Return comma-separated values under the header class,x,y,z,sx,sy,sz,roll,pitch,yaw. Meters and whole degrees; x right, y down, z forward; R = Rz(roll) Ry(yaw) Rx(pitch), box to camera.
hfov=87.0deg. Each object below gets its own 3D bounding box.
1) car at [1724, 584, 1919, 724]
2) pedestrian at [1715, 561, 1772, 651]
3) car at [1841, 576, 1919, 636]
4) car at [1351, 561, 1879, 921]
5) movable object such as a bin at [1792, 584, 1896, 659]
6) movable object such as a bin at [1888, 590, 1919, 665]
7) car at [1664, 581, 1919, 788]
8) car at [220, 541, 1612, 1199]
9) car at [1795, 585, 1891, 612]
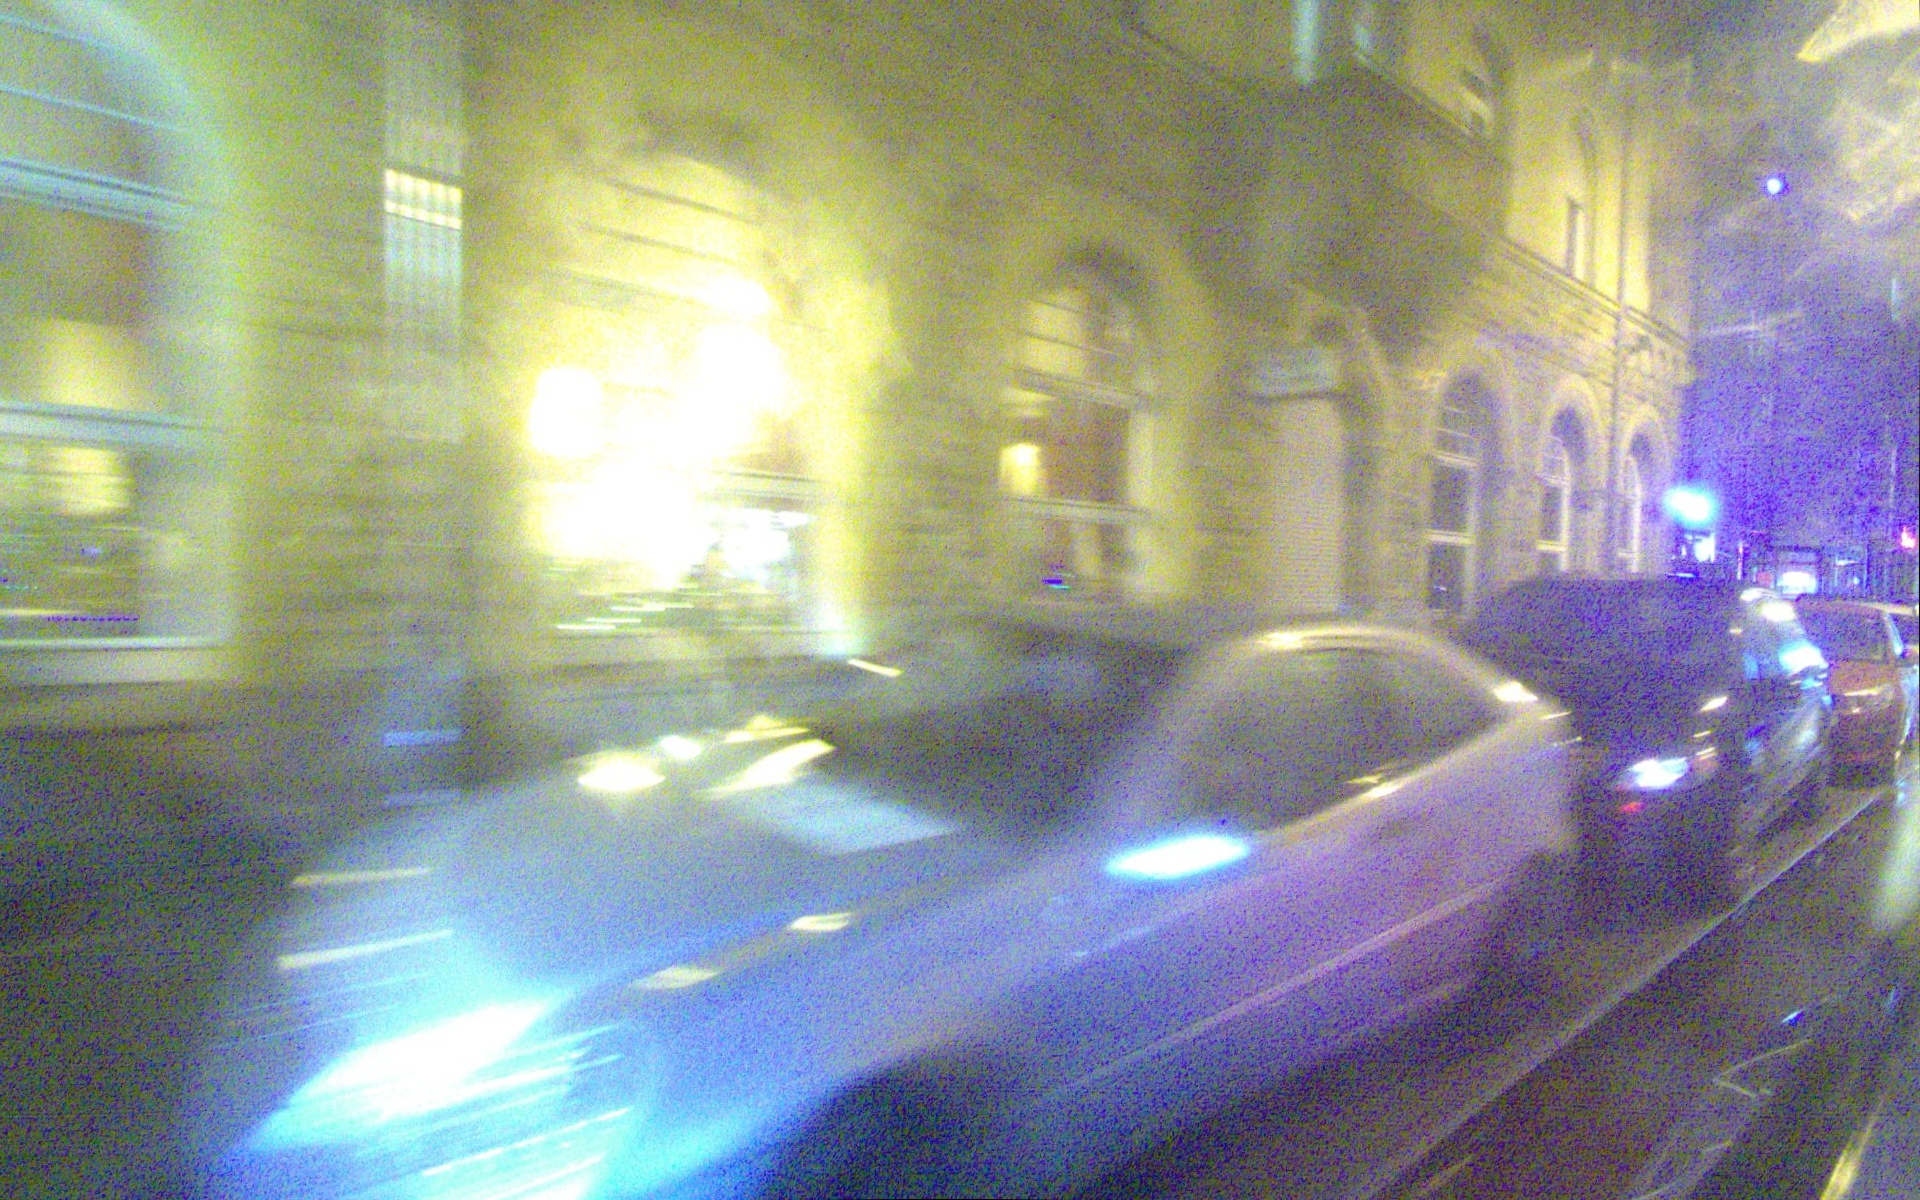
class,x,y,z,sx,sy,sz,roll,pitch,yaw
car,11.656,0.567,13.017,4.339,1.482,1.998,0,2,-40
pedestrian,16.405,0.124,21.187,0.612,1.810,0.705,2,2,-37
car,28.105,0.281,28.627,1.749,1.548,4.525,0,5,-40
car,4.171,0.569,6.203,3.823,1.517,1.693,0,2,-41
movable object such as a bin,18.079,0.412,20.724,1.029,1.447,1.315,0,2,-30
movable object such as a bin,19.431,0.548,19.875,1.322,1.447,1.196,1,1,14
car,8.111,0.616,9.536,3.827,1.517,1.691,0,2,-44
car,0.243,0.604,3.108,3.930,1.429,1.921,0,2,-41
car,51.535,-0.119,59.133,1.861,1.504,3.997,0,1,-38
